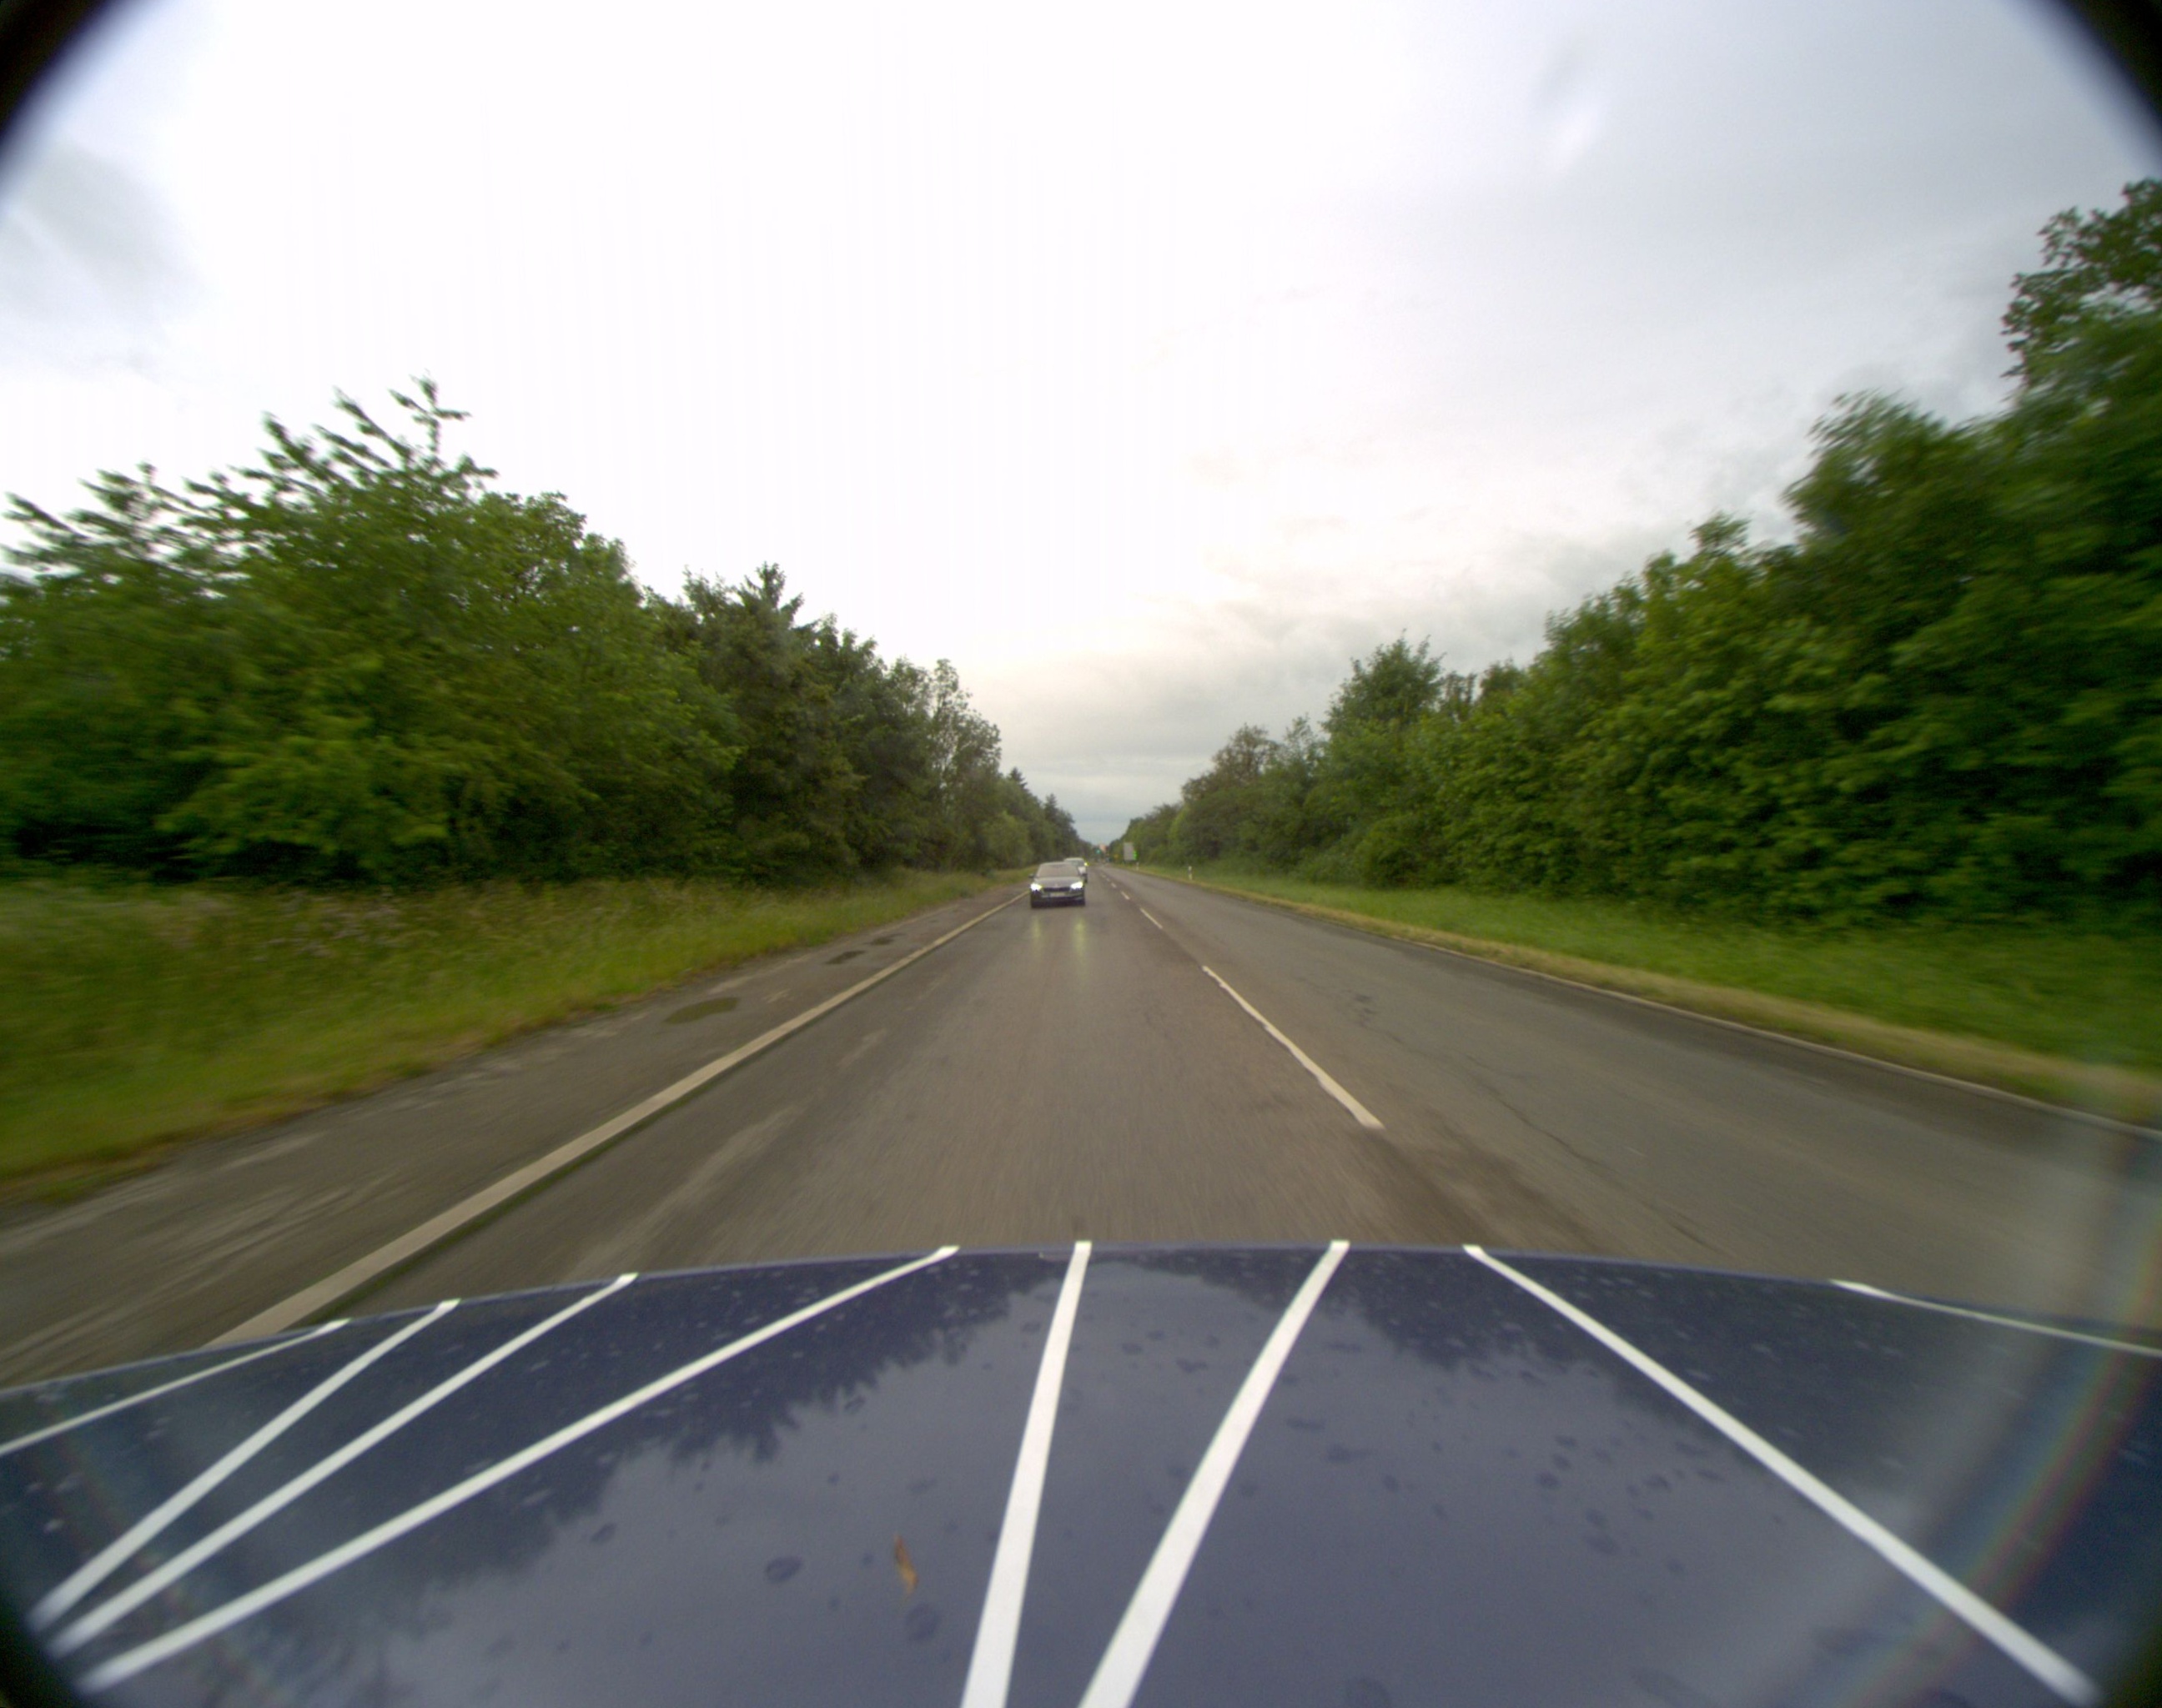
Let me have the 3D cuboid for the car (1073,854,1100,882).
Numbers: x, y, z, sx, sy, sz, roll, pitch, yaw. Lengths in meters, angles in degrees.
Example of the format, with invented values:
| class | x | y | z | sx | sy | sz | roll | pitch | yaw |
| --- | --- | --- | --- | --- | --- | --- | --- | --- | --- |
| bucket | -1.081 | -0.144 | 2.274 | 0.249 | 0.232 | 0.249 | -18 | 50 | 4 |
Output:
| class | x | y | z | sx | sy | sz | roll | pitch | yaw |
| --- | --- | --- | --- | --- | --- | --- | --- | --- | --- |
| car | 0.336 | 0.875 | 50.305 | 1.704 | 1.723 | 4.000 | -1 | 0 | -1 |

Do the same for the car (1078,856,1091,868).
| class | x | y | z | sx | sy | sz | roll | pitch | yaw |
| --- | --- | --- | --- | --- | --- | --- | --- | --- | --- |
| car | 0.548 | 1.217 | 117.305 | 1.856 | 1.686 | 4.000 | 0 | 0 | 1 |

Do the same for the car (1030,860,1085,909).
| class | x | y | z | sx | sy | sz | roll | pitch | yaw |
| --- | --- | --- | --- | --- | --- | --- | --- | --- | --- |
| car | -0.732 | 0.994 | 26.110 | 1.675 | 1.477 | 4.215 | -3 | -1 | 0 |
